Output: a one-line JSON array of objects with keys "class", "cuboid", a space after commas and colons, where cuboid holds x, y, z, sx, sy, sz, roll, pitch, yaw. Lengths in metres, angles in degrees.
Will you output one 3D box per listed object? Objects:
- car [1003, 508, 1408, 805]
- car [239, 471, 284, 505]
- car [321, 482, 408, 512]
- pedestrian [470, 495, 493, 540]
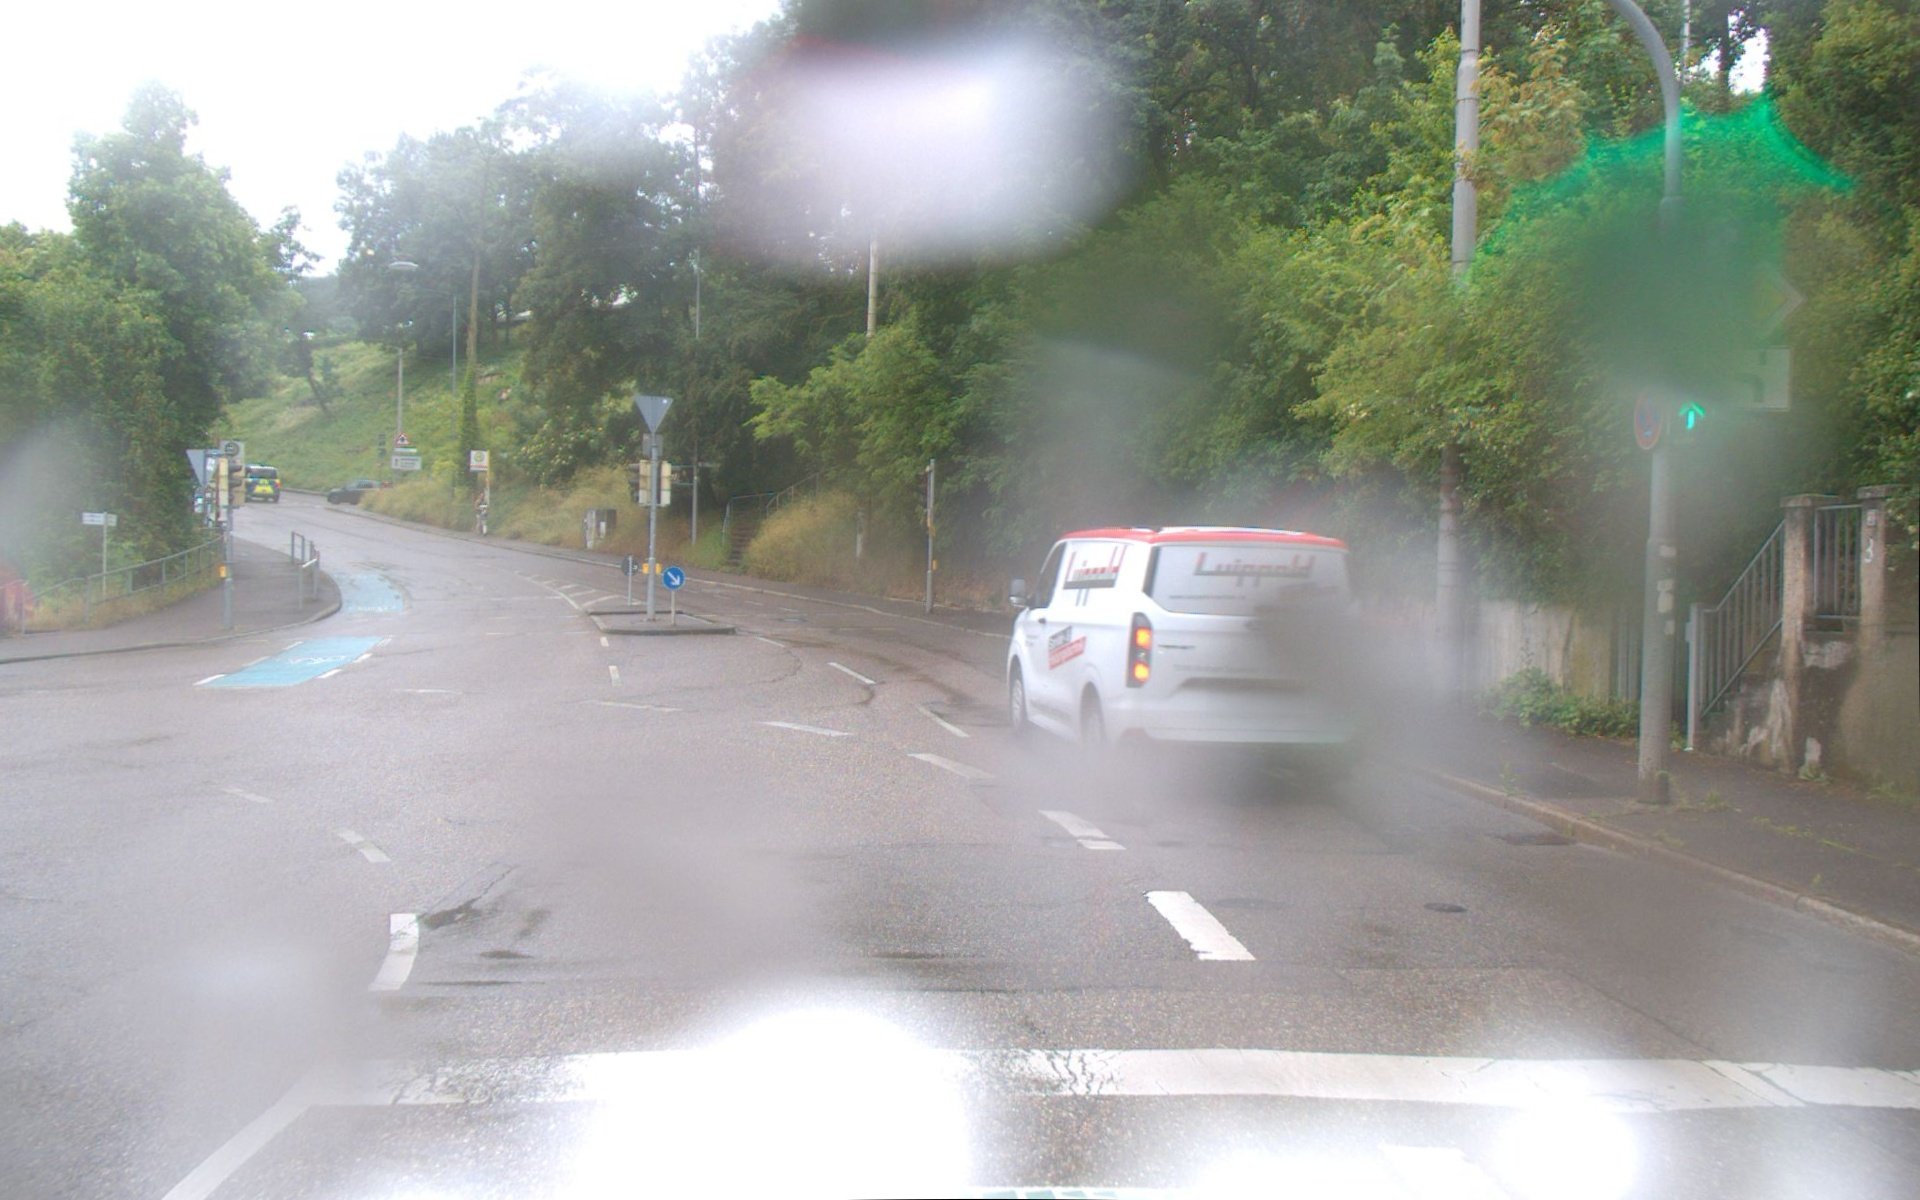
[{"class": "car", "cuboid": [1.788, 0.334, 13.886, 2.028, 2.041, 4.805, 0, 1, -9]}, {"class": "car", "cuboid": [-39.817, -6.357, 94.230, 1.898, 1.811, 3.960, 1, 2, -30]}, {"class": "car", "cuboid": [-34.039, -5.880, 94.596, 4.296, 1.538, 1.965, 2, 3, 11]}, {"class": "pedestrian", "cuboid": [-19.618, -3.372, 67.827, 0.868, 1.767, 0.860, 0, -1, -20]}]
